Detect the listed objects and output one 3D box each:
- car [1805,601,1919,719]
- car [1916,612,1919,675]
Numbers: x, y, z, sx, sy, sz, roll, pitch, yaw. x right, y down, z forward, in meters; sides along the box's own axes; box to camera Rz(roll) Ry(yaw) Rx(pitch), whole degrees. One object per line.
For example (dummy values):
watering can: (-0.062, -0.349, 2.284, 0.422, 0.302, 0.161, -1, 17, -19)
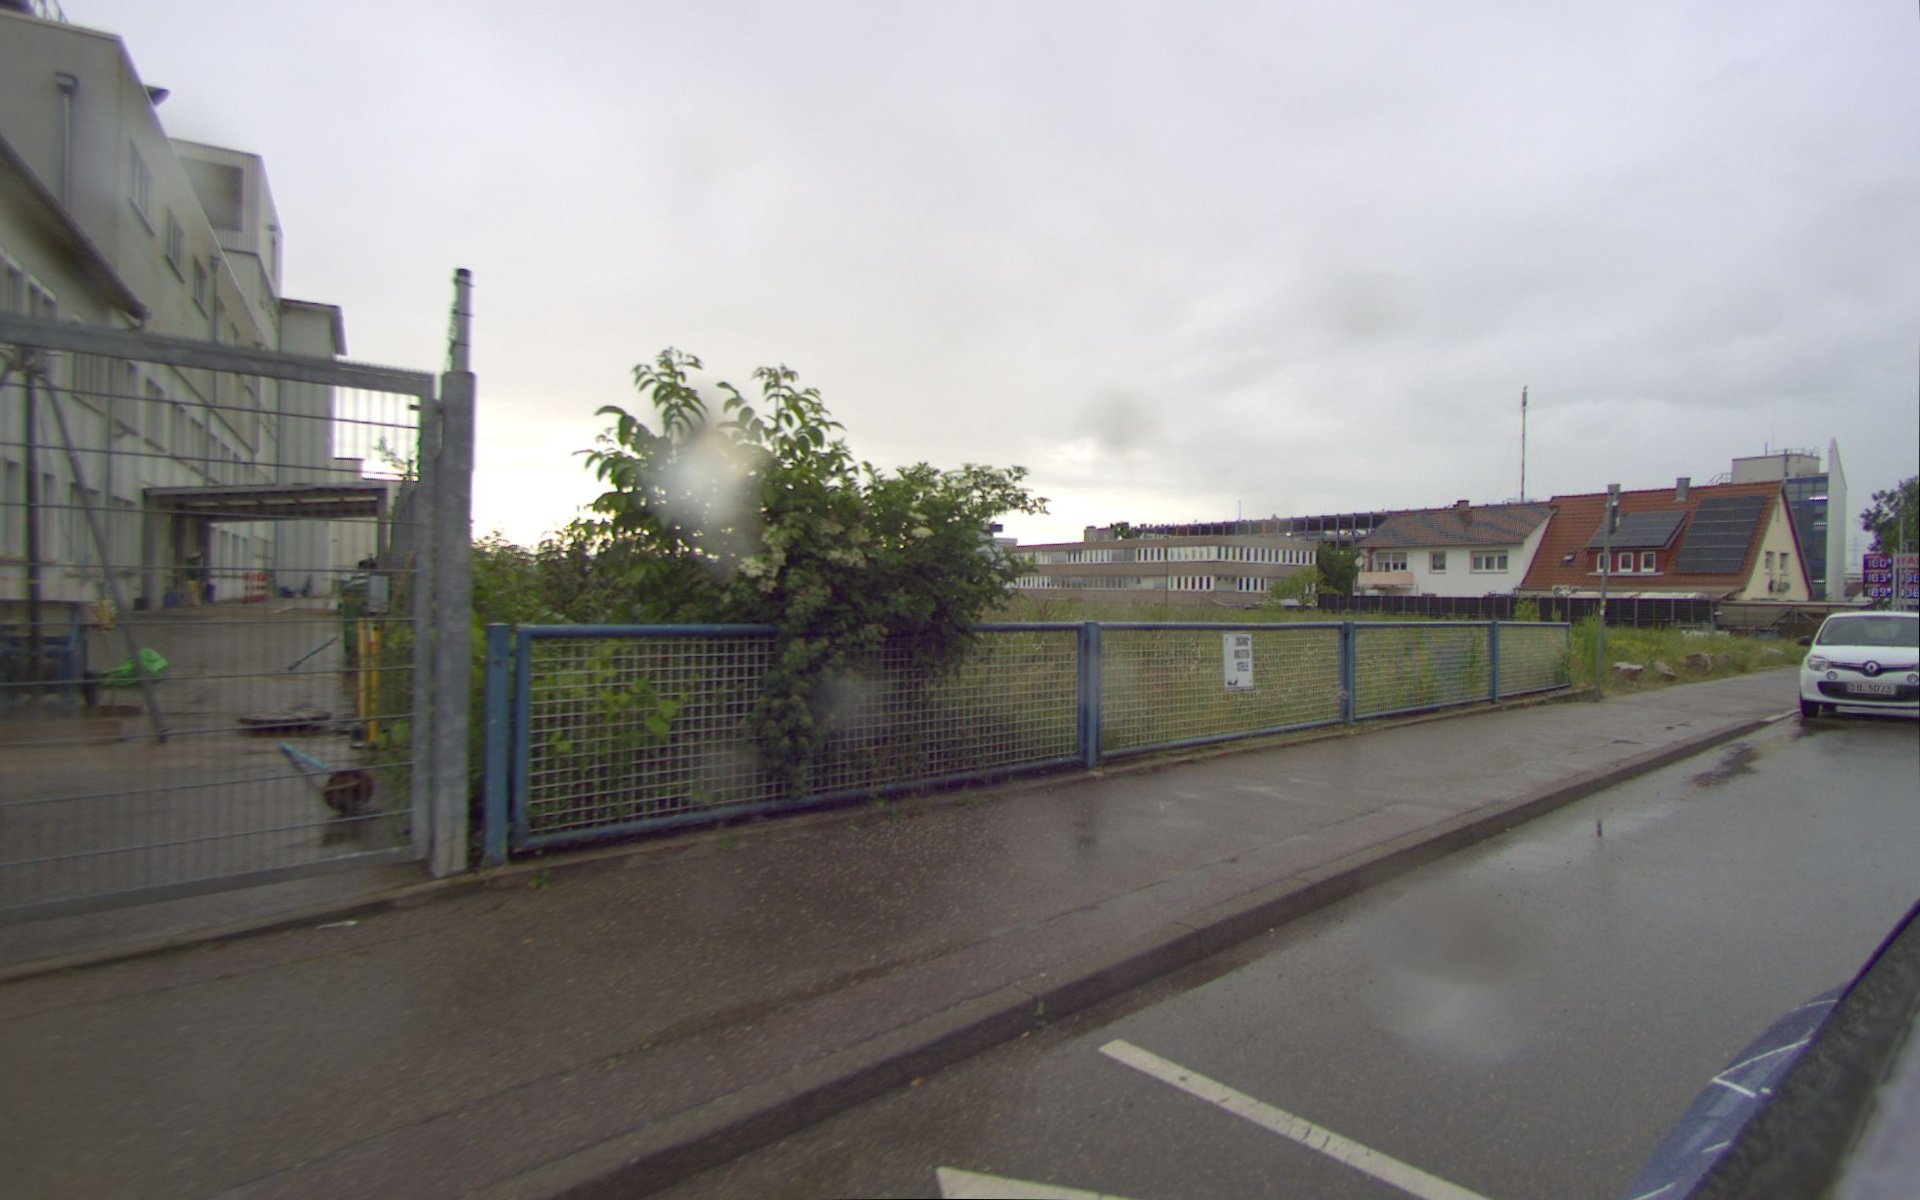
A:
car: (13.990, 0.840, 15.120, 3.612, 1.577, 1.683, 1, -1, -43)
car: (26.568, 1.159, 26.638, 4.562, 1.595, 1.645, 2, -1, -41)
